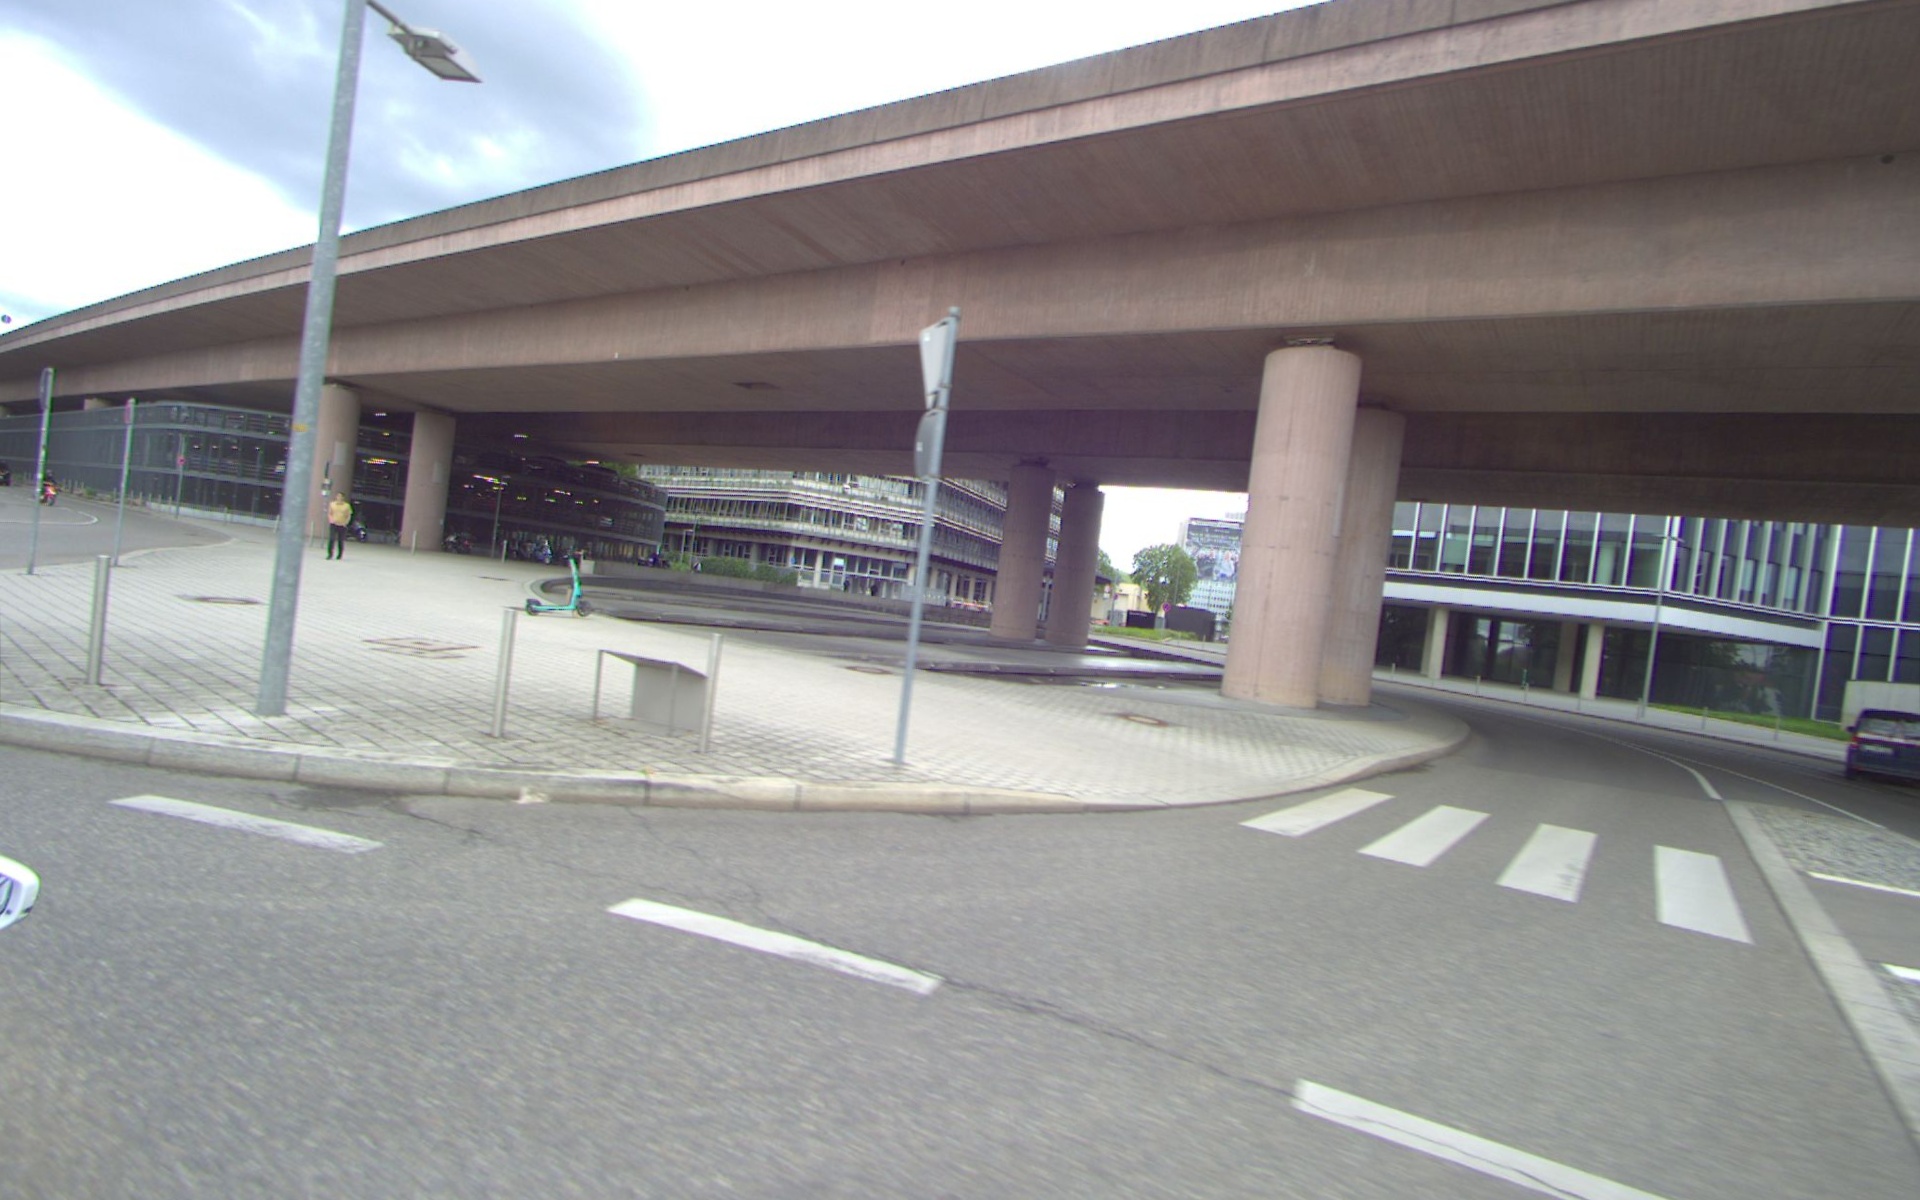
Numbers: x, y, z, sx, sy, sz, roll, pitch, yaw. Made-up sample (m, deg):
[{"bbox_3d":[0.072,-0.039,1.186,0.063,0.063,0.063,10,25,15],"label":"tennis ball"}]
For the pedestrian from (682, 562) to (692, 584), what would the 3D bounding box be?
[{"bbox_3d":[-26.673,-2.646,98.410,0.525,2.038,0.567,7,1,-43],"label":"pedestrian"}]

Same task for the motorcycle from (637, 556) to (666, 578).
[{"bbox_3d":[-21.294,-2.296,69.472,2.329,1.236,0.671,9,3,40],"label":"motorcycle"}]

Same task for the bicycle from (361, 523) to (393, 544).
[{"bbox_3d":[-33.227,-3.774,57.353,1.459,0.989,0.448,7,2,-25],"label":"bicycle"}]

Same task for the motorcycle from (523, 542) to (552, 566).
[{"bbox_3d":[-25.913,-2.830,61.665,2.048,1.236,0.671,9,3,40],"label":"motorcycle"}]

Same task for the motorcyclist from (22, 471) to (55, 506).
[{"bbox_3d":[-43.271,-5.241,47.233,0.854,1.438,0.763,9,2,21],"label":"motorcyclist"}]

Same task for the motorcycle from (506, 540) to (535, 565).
[{"bbox_3d":[-26.529,-2.870,60.690,2.048,1.236,0.671,9,3,40],"label":"motorcycle"}]

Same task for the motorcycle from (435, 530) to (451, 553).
[{"bbox_3d":[-29.179,-3.292,56.789,0.515,1.236,1.144,7,2,-20],"label":"motorcycle"}]

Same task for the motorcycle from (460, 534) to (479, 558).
[{"bbox_3d":[-28.424,-3.148,58.253,0.823,1.236,2.062,7,2,-28],"label":"motorcycle"}]

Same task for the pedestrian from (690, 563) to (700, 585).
[{"bbox_3d":[-25.932,-2.538,98.439,0.525,2.038,0.567,7,1,-42],"label":"pedestrian"}]

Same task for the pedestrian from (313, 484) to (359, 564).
[{"bbox_3d":[-16.858,-2.050,27.205,0.775,2.040,1.032,7,2,-27],"label":"pedestrian"}]

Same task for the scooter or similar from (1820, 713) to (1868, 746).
[{"bbox_3d":[36.964,5.402,42.076,0.687,1.119,1.501,8,2,10],"label":"scooter or similar"}]

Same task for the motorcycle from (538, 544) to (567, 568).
[{"bbox_3d":[-25.272,-2.718,62.366,2.048,1.236,0.671,9,3,40],"label":"motorcycle"}]

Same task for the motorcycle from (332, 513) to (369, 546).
[{"bbox_3d":[-31.323,-3.627,51.721,1.730,1.474,0.643,9,2,24],"label":"motorcycle"}]

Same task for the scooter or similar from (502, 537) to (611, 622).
[{"bbox_3d":[-7.318,-0.364,18.281,1.634,1.312,0.513,7,2,-36],"label":"scooter or similar"}]

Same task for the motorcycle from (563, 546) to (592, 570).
[{"bbox_3d":[-24.148,-2.659,63.543,2.048,1.236,0.671,9,3,40],"label":"motorcycle"}]

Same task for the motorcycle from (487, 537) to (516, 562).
[{"bbox_3d":[-27.388,-2.993,60.032,2.048,1.236,0.671,9,3,40],"label":"motorcycle"}]

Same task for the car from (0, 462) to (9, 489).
[{"bbox_3d":[-69.415,-9.051,71.749,3.651,1.733,1.837,9,2,40],"label":"car"}]

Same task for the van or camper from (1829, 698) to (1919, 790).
[{"bbox_3d":[24.579,3.779,26.207,4.867,1.917,2.128,7,2,-41],"label":"van or camper"}]

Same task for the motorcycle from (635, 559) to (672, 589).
[{"bbox_3d":[-14.708,-1.223,48.336,0.538,1.280,1.940,8,1,18],"label":"motorcycle"}]

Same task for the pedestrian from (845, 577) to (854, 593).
[{"bbox_3d":[-10.416,-1.400,94.764,0.487,1.500,0.544,8,2,8],"label":"pedestrian"}]

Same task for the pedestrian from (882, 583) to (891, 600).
[{"bbox_3d":[-6.781,-0.809,92.559,0.487,1.500,0.544,9,2,23],"label":"pedestrian"}]

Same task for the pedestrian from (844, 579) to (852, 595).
[{"bbox_3d":[-10.562,-1.222,94.739,0.487,1.500,0.544,8,2,8],"label":"pedestrian"}]

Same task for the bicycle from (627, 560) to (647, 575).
[{"bbox_3d":[-22.657,-2.248,70.577,0.466,0.907,1.505,8,1,14],"label":"bicycle"}]

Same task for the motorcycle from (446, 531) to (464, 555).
[{"bbox_3d":[-27.385,-3.063,54.570,0.514,1.185,1.147,7,-1,-14],"label":"motorcycle"}]

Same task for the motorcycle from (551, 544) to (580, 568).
[{"bbox_3d":[-24.736,-2.762,63.025,2.048,1.302,0.671,9,3,40],"label":"motorcycle"}]

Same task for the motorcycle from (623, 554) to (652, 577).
[{"bbox_3d":[-21.878,-2.357,68.228,2.329,1.292,0.671,9,3,40],"label":"motorcycle"}]

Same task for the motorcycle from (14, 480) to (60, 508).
[{"bbox_3d":[-43.361,-4.986,47.263,1.920,1.036,0.748,9,2,21],"label":"motorcycle"}]
